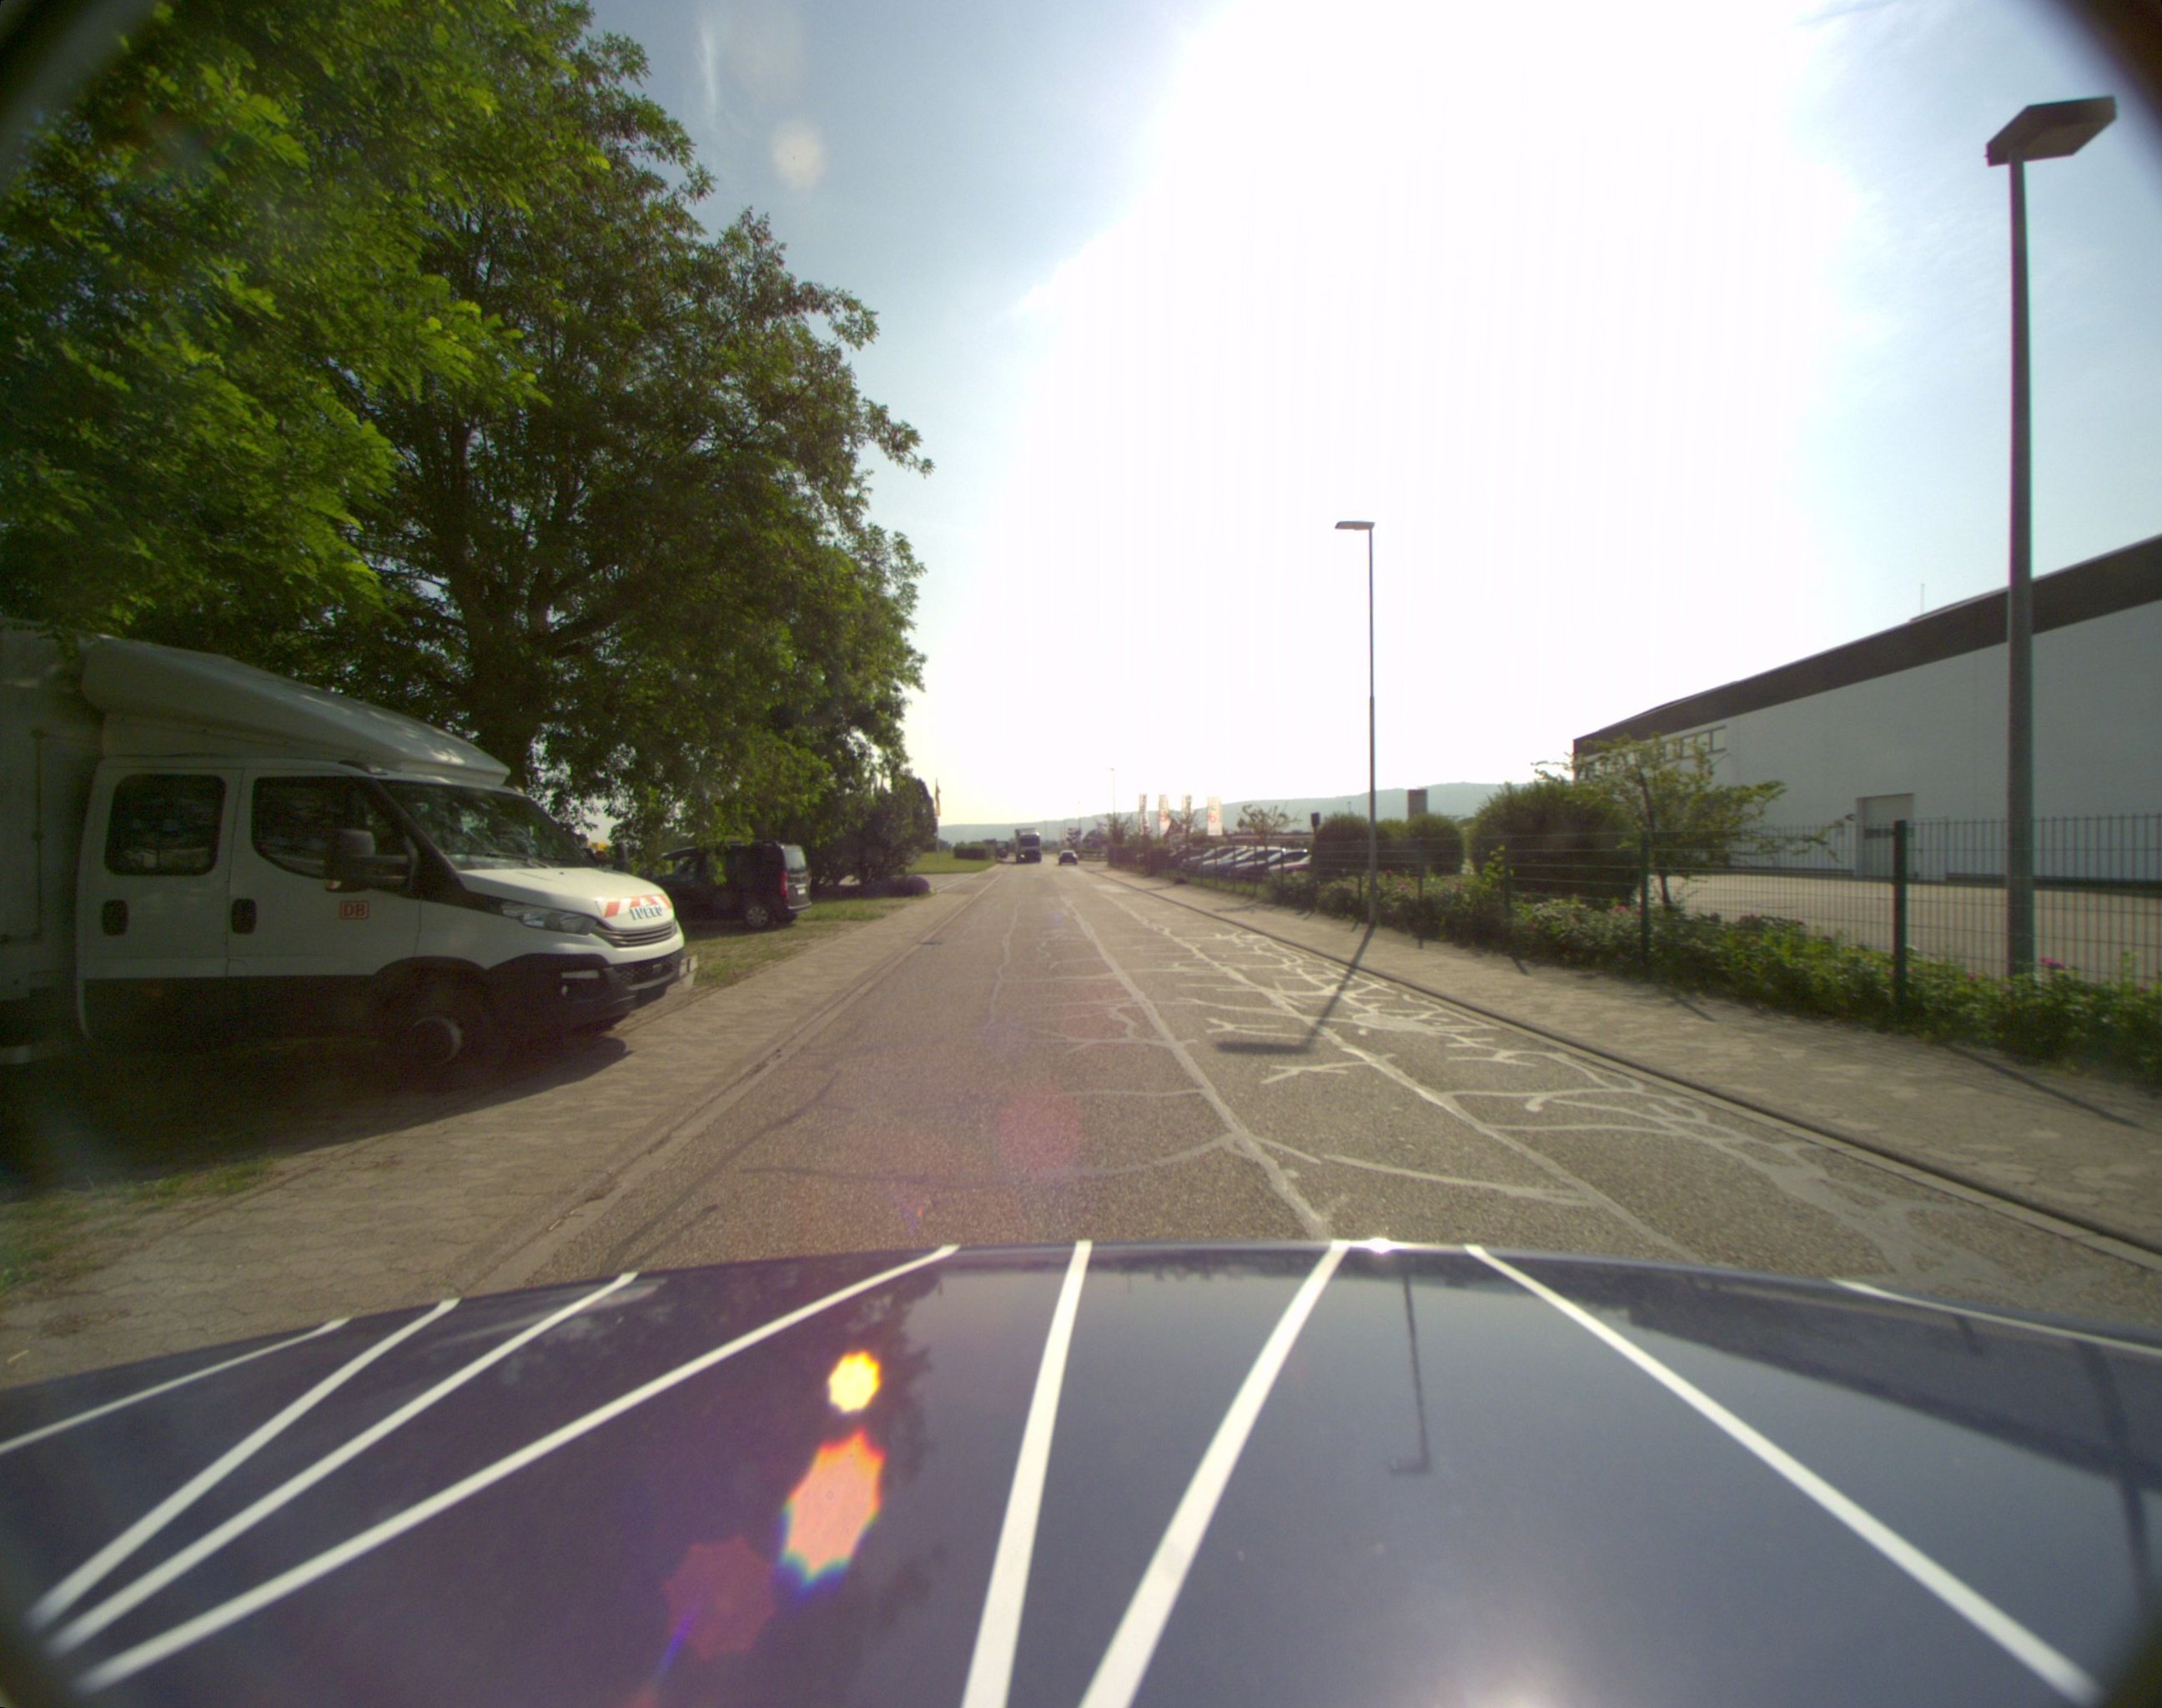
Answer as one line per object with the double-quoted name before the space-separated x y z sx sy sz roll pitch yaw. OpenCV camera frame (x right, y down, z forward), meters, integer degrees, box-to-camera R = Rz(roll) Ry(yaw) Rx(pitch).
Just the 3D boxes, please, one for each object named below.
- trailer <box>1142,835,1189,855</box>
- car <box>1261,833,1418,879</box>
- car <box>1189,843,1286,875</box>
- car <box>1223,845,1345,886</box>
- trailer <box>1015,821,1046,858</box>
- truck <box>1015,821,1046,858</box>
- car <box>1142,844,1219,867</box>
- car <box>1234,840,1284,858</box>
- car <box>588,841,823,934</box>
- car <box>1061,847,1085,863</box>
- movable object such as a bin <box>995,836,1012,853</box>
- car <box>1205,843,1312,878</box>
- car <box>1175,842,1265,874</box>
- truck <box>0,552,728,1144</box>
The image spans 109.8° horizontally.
"trailer" 11.790 -1.267 105.872 6.317 2.590 2.856 1 1 10
"car" 8.566 0.056 25.405 4.549 1.436 1.951 1 1 -4
"car" 7.255 0.227 35.500 4.052 1.436 1.873 1 1 -4
"car" 7.584 0.409 28.653 4.052 1.436 1.873 1 1 -4
"trailer" -6.433 -1.919 97.111 3.498 4.184 14.224 -3 2 -4
"truck" -5.992 -1.749 90.643 3.396 4.184 6.095 -3 2 -3
"car" 6.551 0.075 50.212 4.699 1.436 2.077 1 1 -4
"car" 17.459 -0.473 74.392 4.655 1.742 2.154 0 1 18
"car" -7.844 0.651 16.219 3.998 1.827 1.999 0 1 -2
"car" -0.788 0.055 74.488 1.999 1.441 4.417 1 1 -5
"movable object such as a bin" -13.402 -1.627 131.140 2.436 2.994 5.747 0 1 -11
"car" 7.523 0.260 32.418 4.052 1.436 1.873 1 1 -4
"car" 7.051 0.206 38.711 4.139 1.558 1.864 1 1 -4
"truck" -7.407 -0.044 5.571 8.232 3.351 2.739 0 2 -5
